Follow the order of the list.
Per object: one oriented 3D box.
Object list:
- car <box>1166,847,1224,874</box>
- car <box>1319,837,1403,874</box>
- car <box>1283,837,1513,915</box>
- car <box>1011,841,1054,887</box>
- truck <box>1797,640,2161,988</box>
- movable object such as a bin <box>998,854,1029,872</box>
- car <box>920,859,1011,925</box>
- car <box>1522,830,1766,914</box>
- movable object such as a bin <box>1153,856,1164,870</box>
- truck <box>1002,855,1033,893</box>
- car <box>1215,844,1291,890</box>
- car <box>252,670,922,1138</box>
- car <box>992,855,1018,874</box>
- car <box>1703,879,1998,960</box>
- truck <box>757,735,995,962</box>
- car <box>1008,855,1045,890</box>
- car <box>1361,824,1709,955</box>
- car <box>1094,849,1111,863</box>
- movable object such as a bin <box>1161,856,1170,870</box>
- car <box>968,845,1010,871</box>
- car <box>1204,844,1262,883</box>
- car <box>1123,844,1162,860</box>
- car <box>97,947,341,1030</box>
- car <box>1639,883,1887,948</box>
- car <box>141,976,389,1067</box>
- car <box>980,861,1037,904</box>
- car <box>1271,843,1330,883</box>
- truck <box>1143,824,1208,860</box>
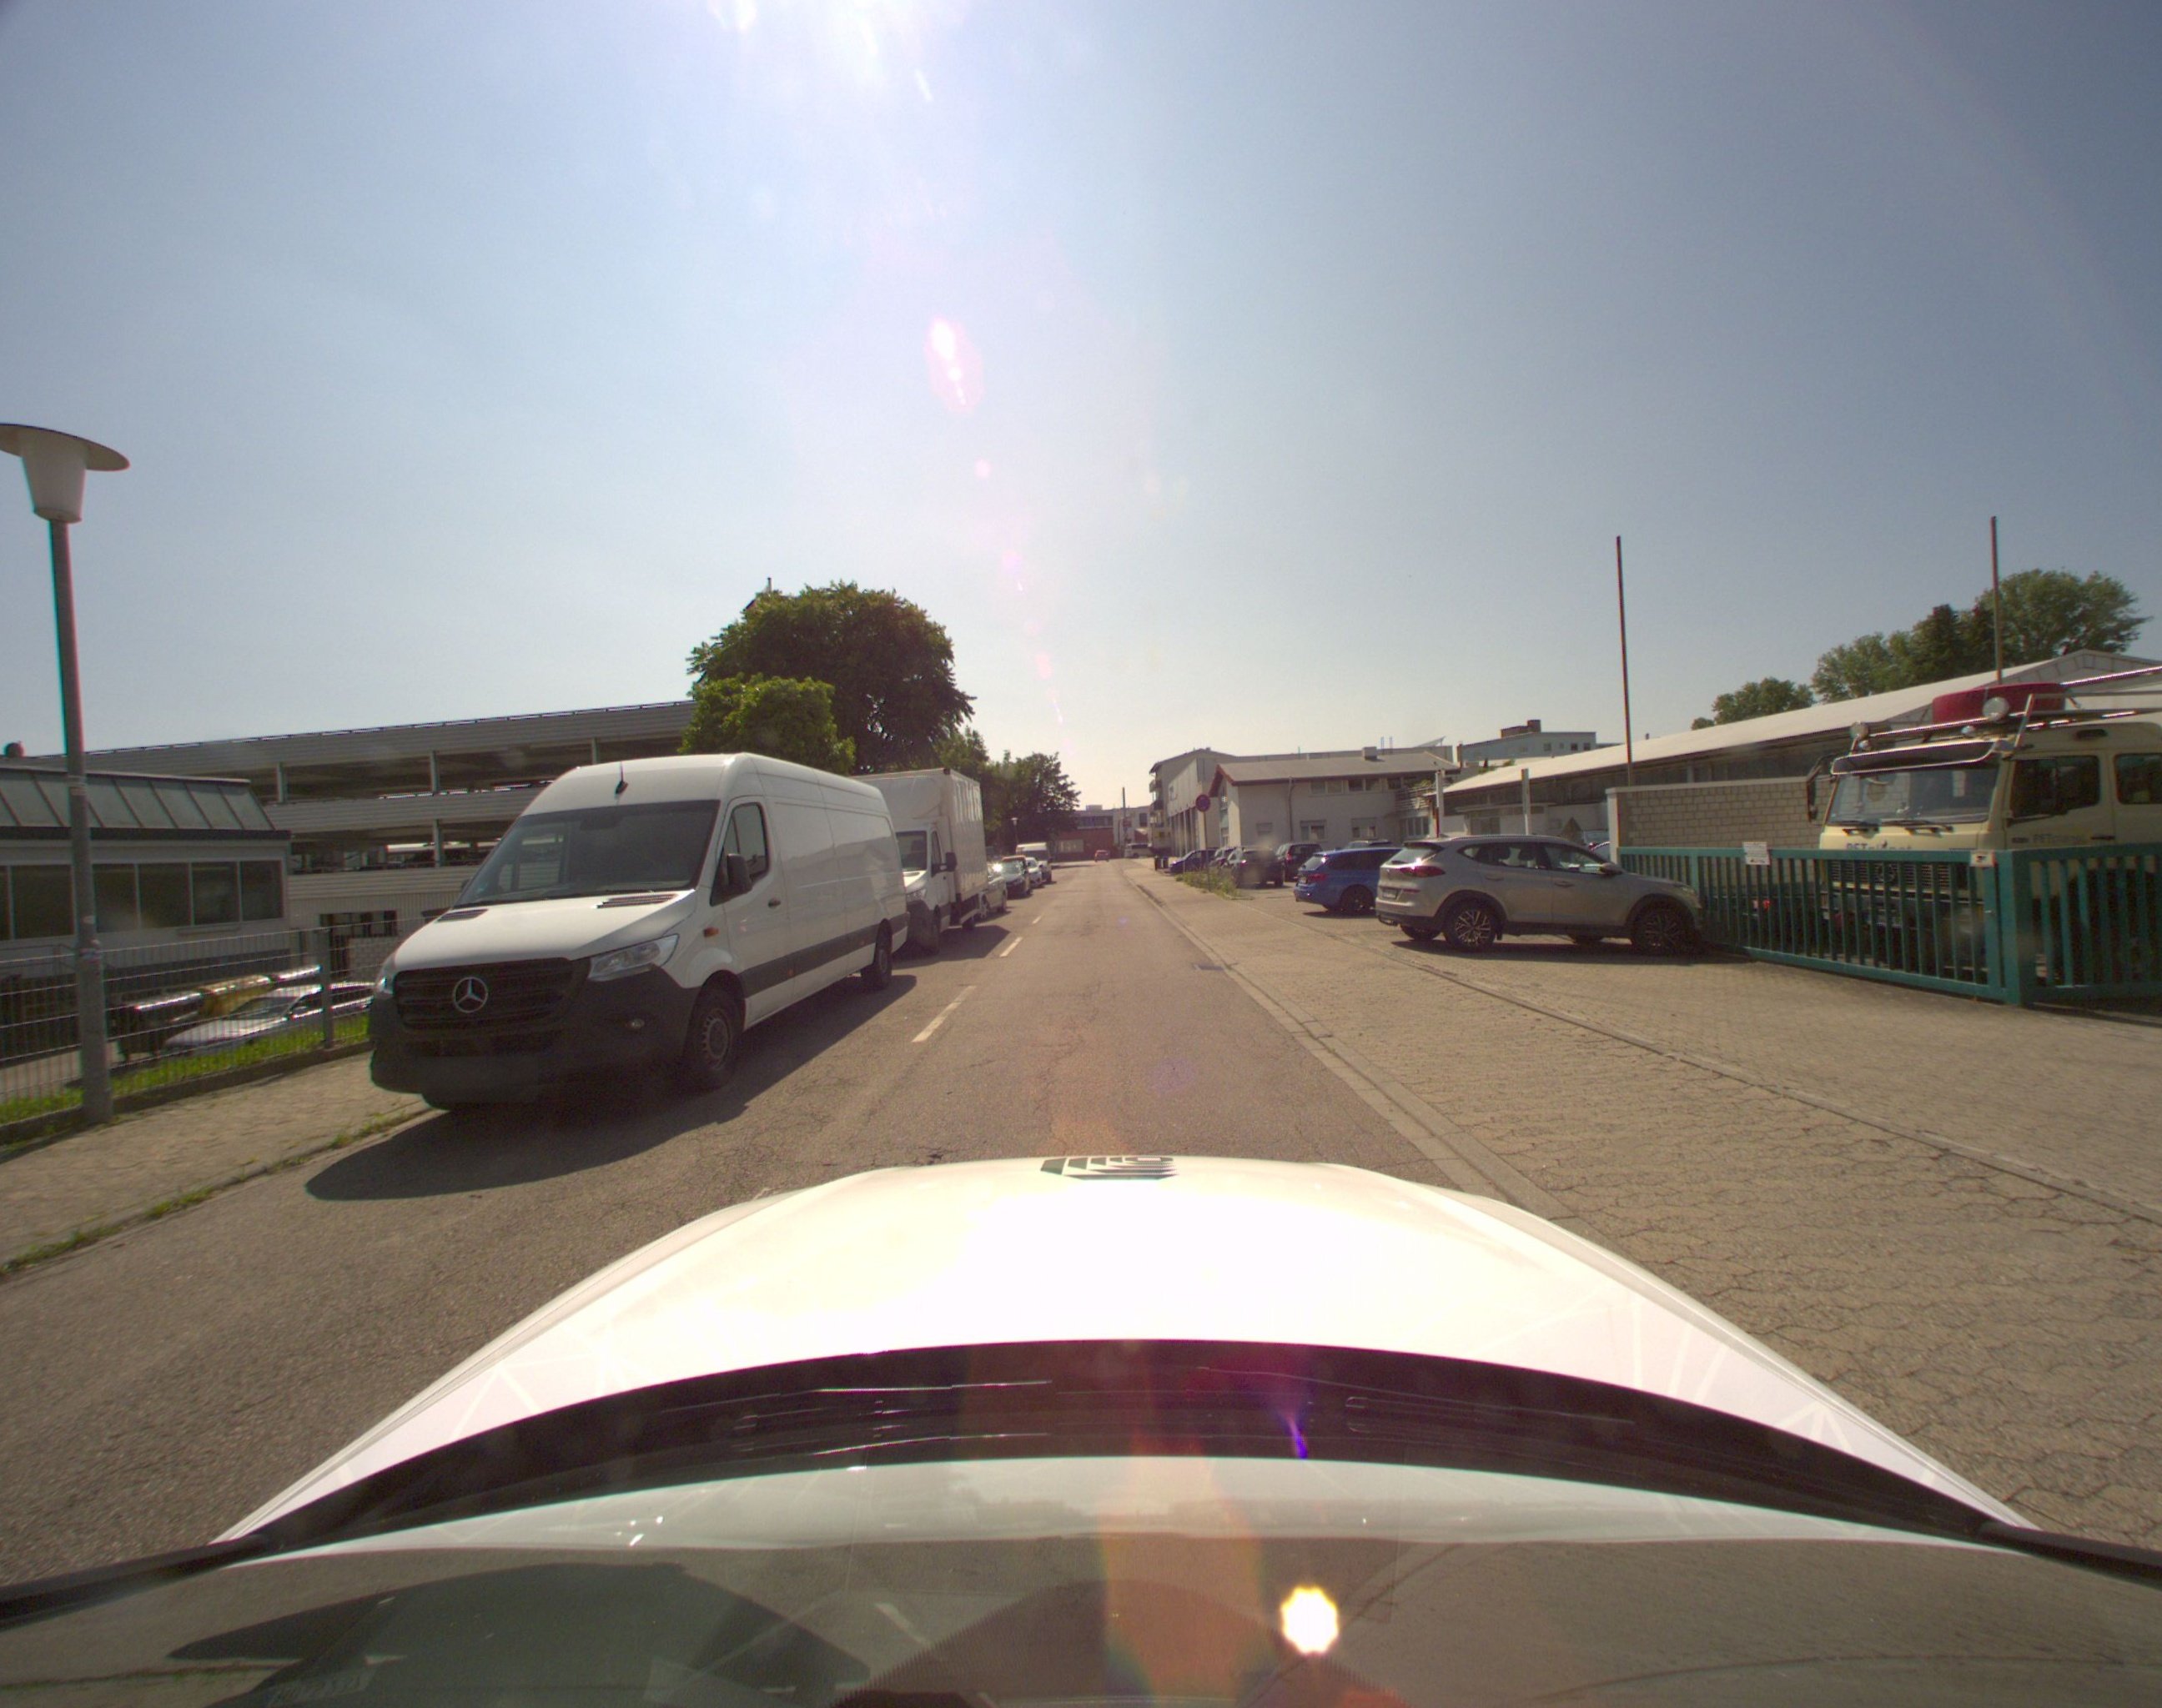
[{"bbox_3d":[6.785,0.388,48.741,3.241,1.398,1.674,-3,0,1],"label":"car"},{"bbox_3d":[12.648,0.097,37.059,1.760,1.496,4.135,-4,0,-10],"label":"car"},{"bbox_3d":[6.911,0.462,18.103,4.338,1.441,1.892,-3,0,0],"label":"car"},{"bbox_3d":[-2.741,0.625,47.110,1.999,2.366,5.227,-4,-2,-1],"label":"car"},{"bbox_3d":[13.007,-0.365,9.262,7.491,3.423,2.527,1,-1,1],"label":"truck"},{"bbox_3d":[-6.439,0.868,78.037,2.618,1.510,2.729,-4,0,0],"label":"movable object such as a bin"},{"bbox_3d":[-3.037,0.942,22.237,1.735,1.521,4.311,-3,0,1],"label":"car"},{"bbox_3d":[11.437,0.346,17.022,1.881,1.441,4.452,-3,0,-2],"label":"car"},{"bbox_3d":[5.358,0.639,56.357,0.562,0.946,0.561,-3,0,34],"label":"movable object such as a bin"},{"bbox_3d":[-2.967,0.888,38.325,1.135,1.622,3.140,-4,0,-1],"label":"truck"},{"bbox_3d":[6.488,0.455,31.309,1.852,1.567,4.952,-3,0,1],"label":"car"},{"bbox_3d":[-3.582,0.337,8.214,2.160,2.596,6.924,-4,-1,2],"label":"car"},{"bbox_3d":[-6.433,0.869,69.431,1.808,1.530,3.674,-4,0,0],"label":"car"},{"bbox_3d":[10.576,0.875,11.318,2.886,1.003,1.288,0,0,1],"label":"car"},{"bbox_3d":[-3.547,-0.039,16.114,2.676,3.366,7.129,-3,-1,0],"label":"truck"},{"bbox_3d":[-2.800,0.919,41.934,1.701,1.624,3.968,-4,0,-3],"label":"car"},{"bbox_3d":[6.549,0.502,12.080,4.187,1.682,1.767,2,-1,0],"label":"car"},{"bbox_3d":[2.804,0.272,107.657,1.886,1.685,3.954,-2,-1,-2],"label":"car"},{"bbox_3d":[5.861,0.643,56.763,0.510,0.946,0.489,-3,0,12],"label":"movable object such as a bin"},{"bbox_3d":[-9.637,0.427,85.092,4.073,2.513,1.776,-3,0,-1],"label":"car"},{"bbox_3d":[6.809,0.395,36.855,1.805,1.558,4.293,-3,0,1],"label":"car"},{"bbox_3d":[8.184,-0.257,108.353,4.667,1.957,1.905,-3,0,-18],"label":"car"},{"bbox_3d":[-22.578,3.470,21.603,1.984,1.442,4.005,-3,0,5],"label":"car"},{"bbox_3d":[10.789,0.958,13.008,2.886,0.914,1.288,0,0,1],"label":"car"},{"bbox_3d":[-20.115,4.084,20.371,1.984,1.442,4.005,-1,0,5],"label":"car"},{"bbox_3d":[-2.804,1.075,32.438,1.698,1.463,4.115,-4,0,2],"label":"car"},{"bbox_3d":[9.175,0.349,34.223,1.751,1.595,3.623,1,0,4],"label":"car"},{"bbox_3d":[11.537,-1.449,99.910,7.348,3.645,2.763,-5,0,-5],"label":"truck"}]
